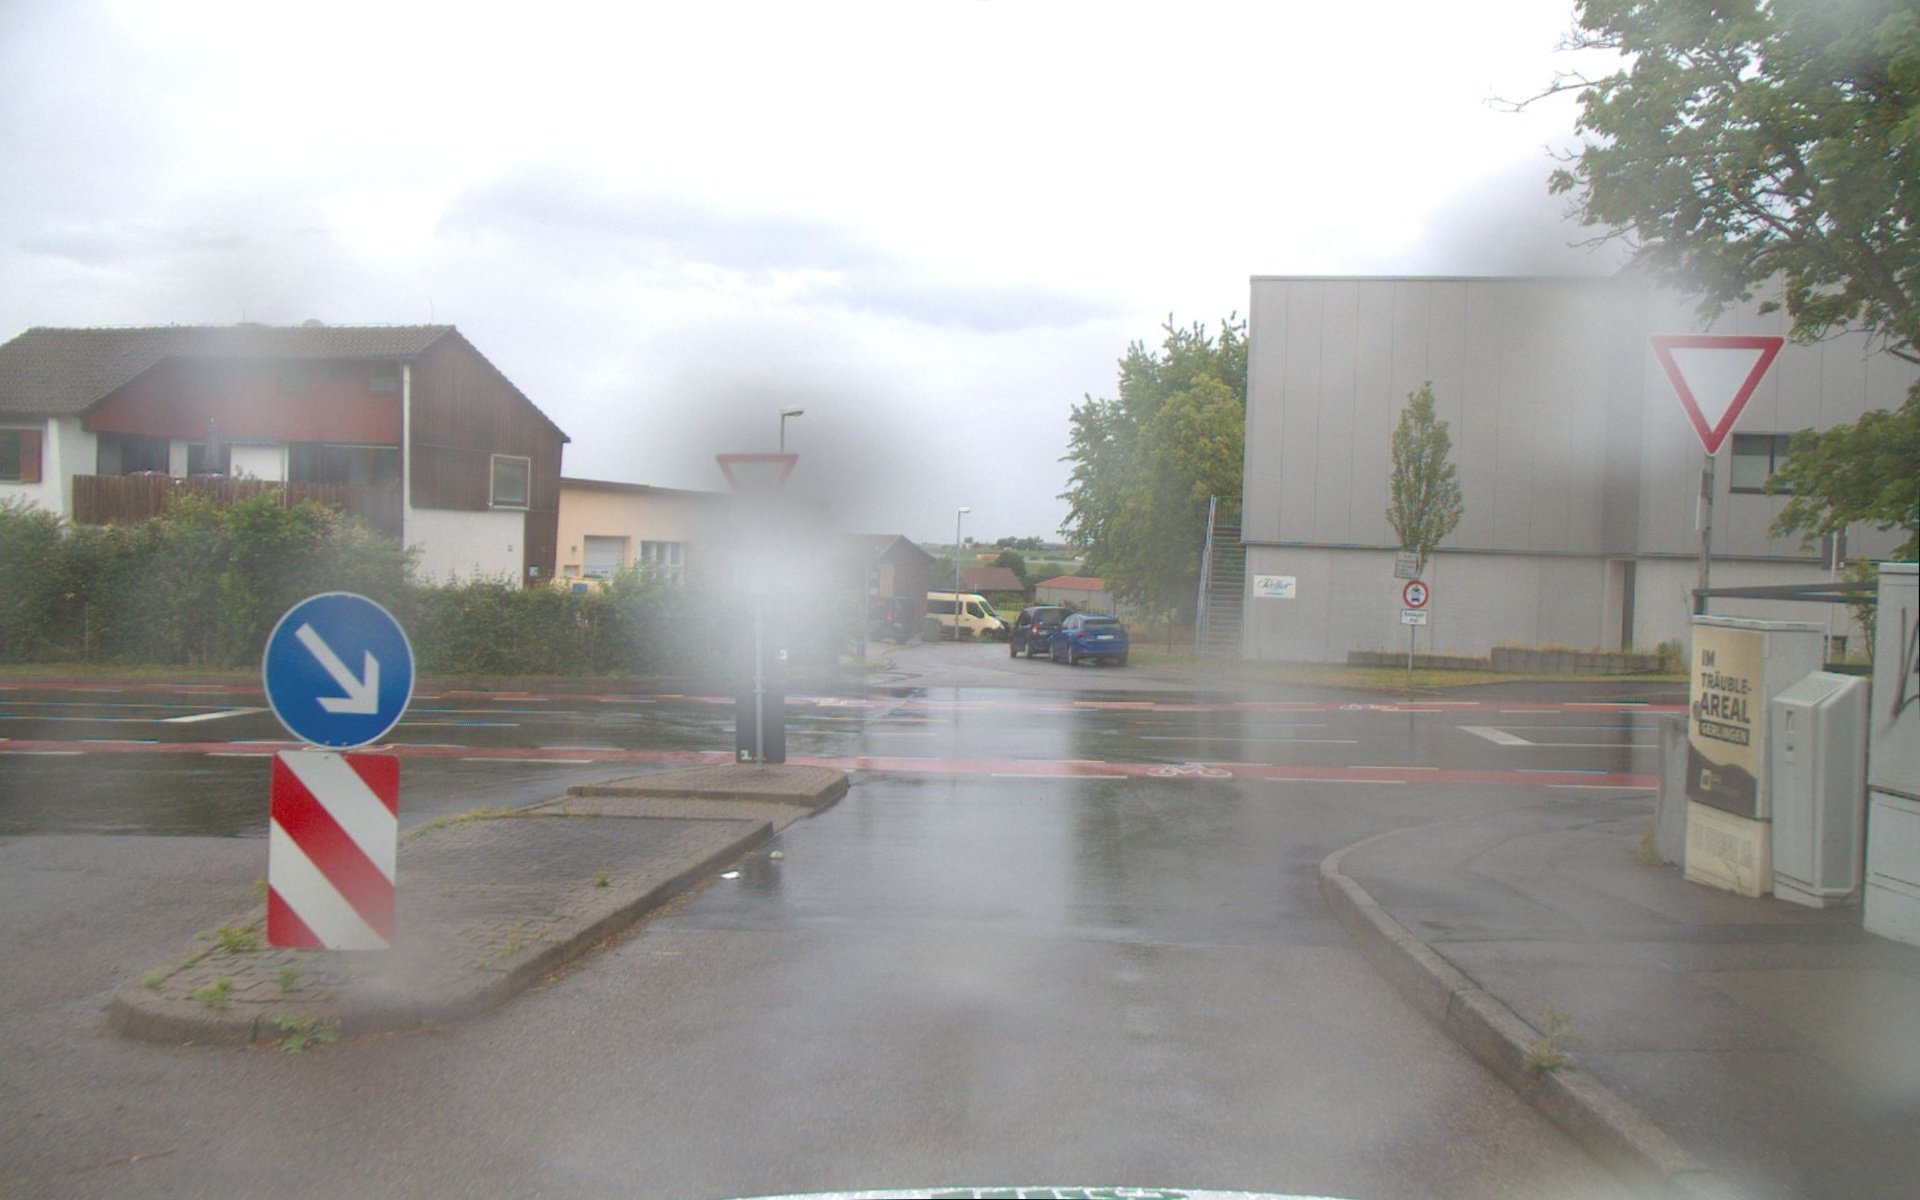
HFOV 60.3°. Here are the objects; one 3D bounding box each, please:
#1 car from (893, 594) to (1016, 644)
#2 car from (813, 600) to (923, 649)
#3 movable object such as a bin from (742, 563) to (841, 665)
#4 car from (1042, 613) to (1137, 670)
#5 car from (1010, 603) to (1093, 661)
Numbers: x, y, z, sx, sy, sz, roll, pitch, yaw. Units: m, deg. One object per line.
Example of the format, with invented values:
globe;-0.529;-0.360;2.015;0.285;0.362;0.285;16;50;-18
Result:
car;-0.251;0.993;85.543;5.882;2.457;2.464;1;-1;17
car;-3.787;0.999;67.918;4.327;1.938;1.990;0;-1;40
movable object such as a bin;-4.473;0.393;44.357;1.696;2.601;3.342;1;-1;11
car;3.880;1.250;50.358;1.915;1.638;4.437;1;-1;-9
car;3.084;1.097;56.712;2.035;1.867;4.462;1;-1;-7
